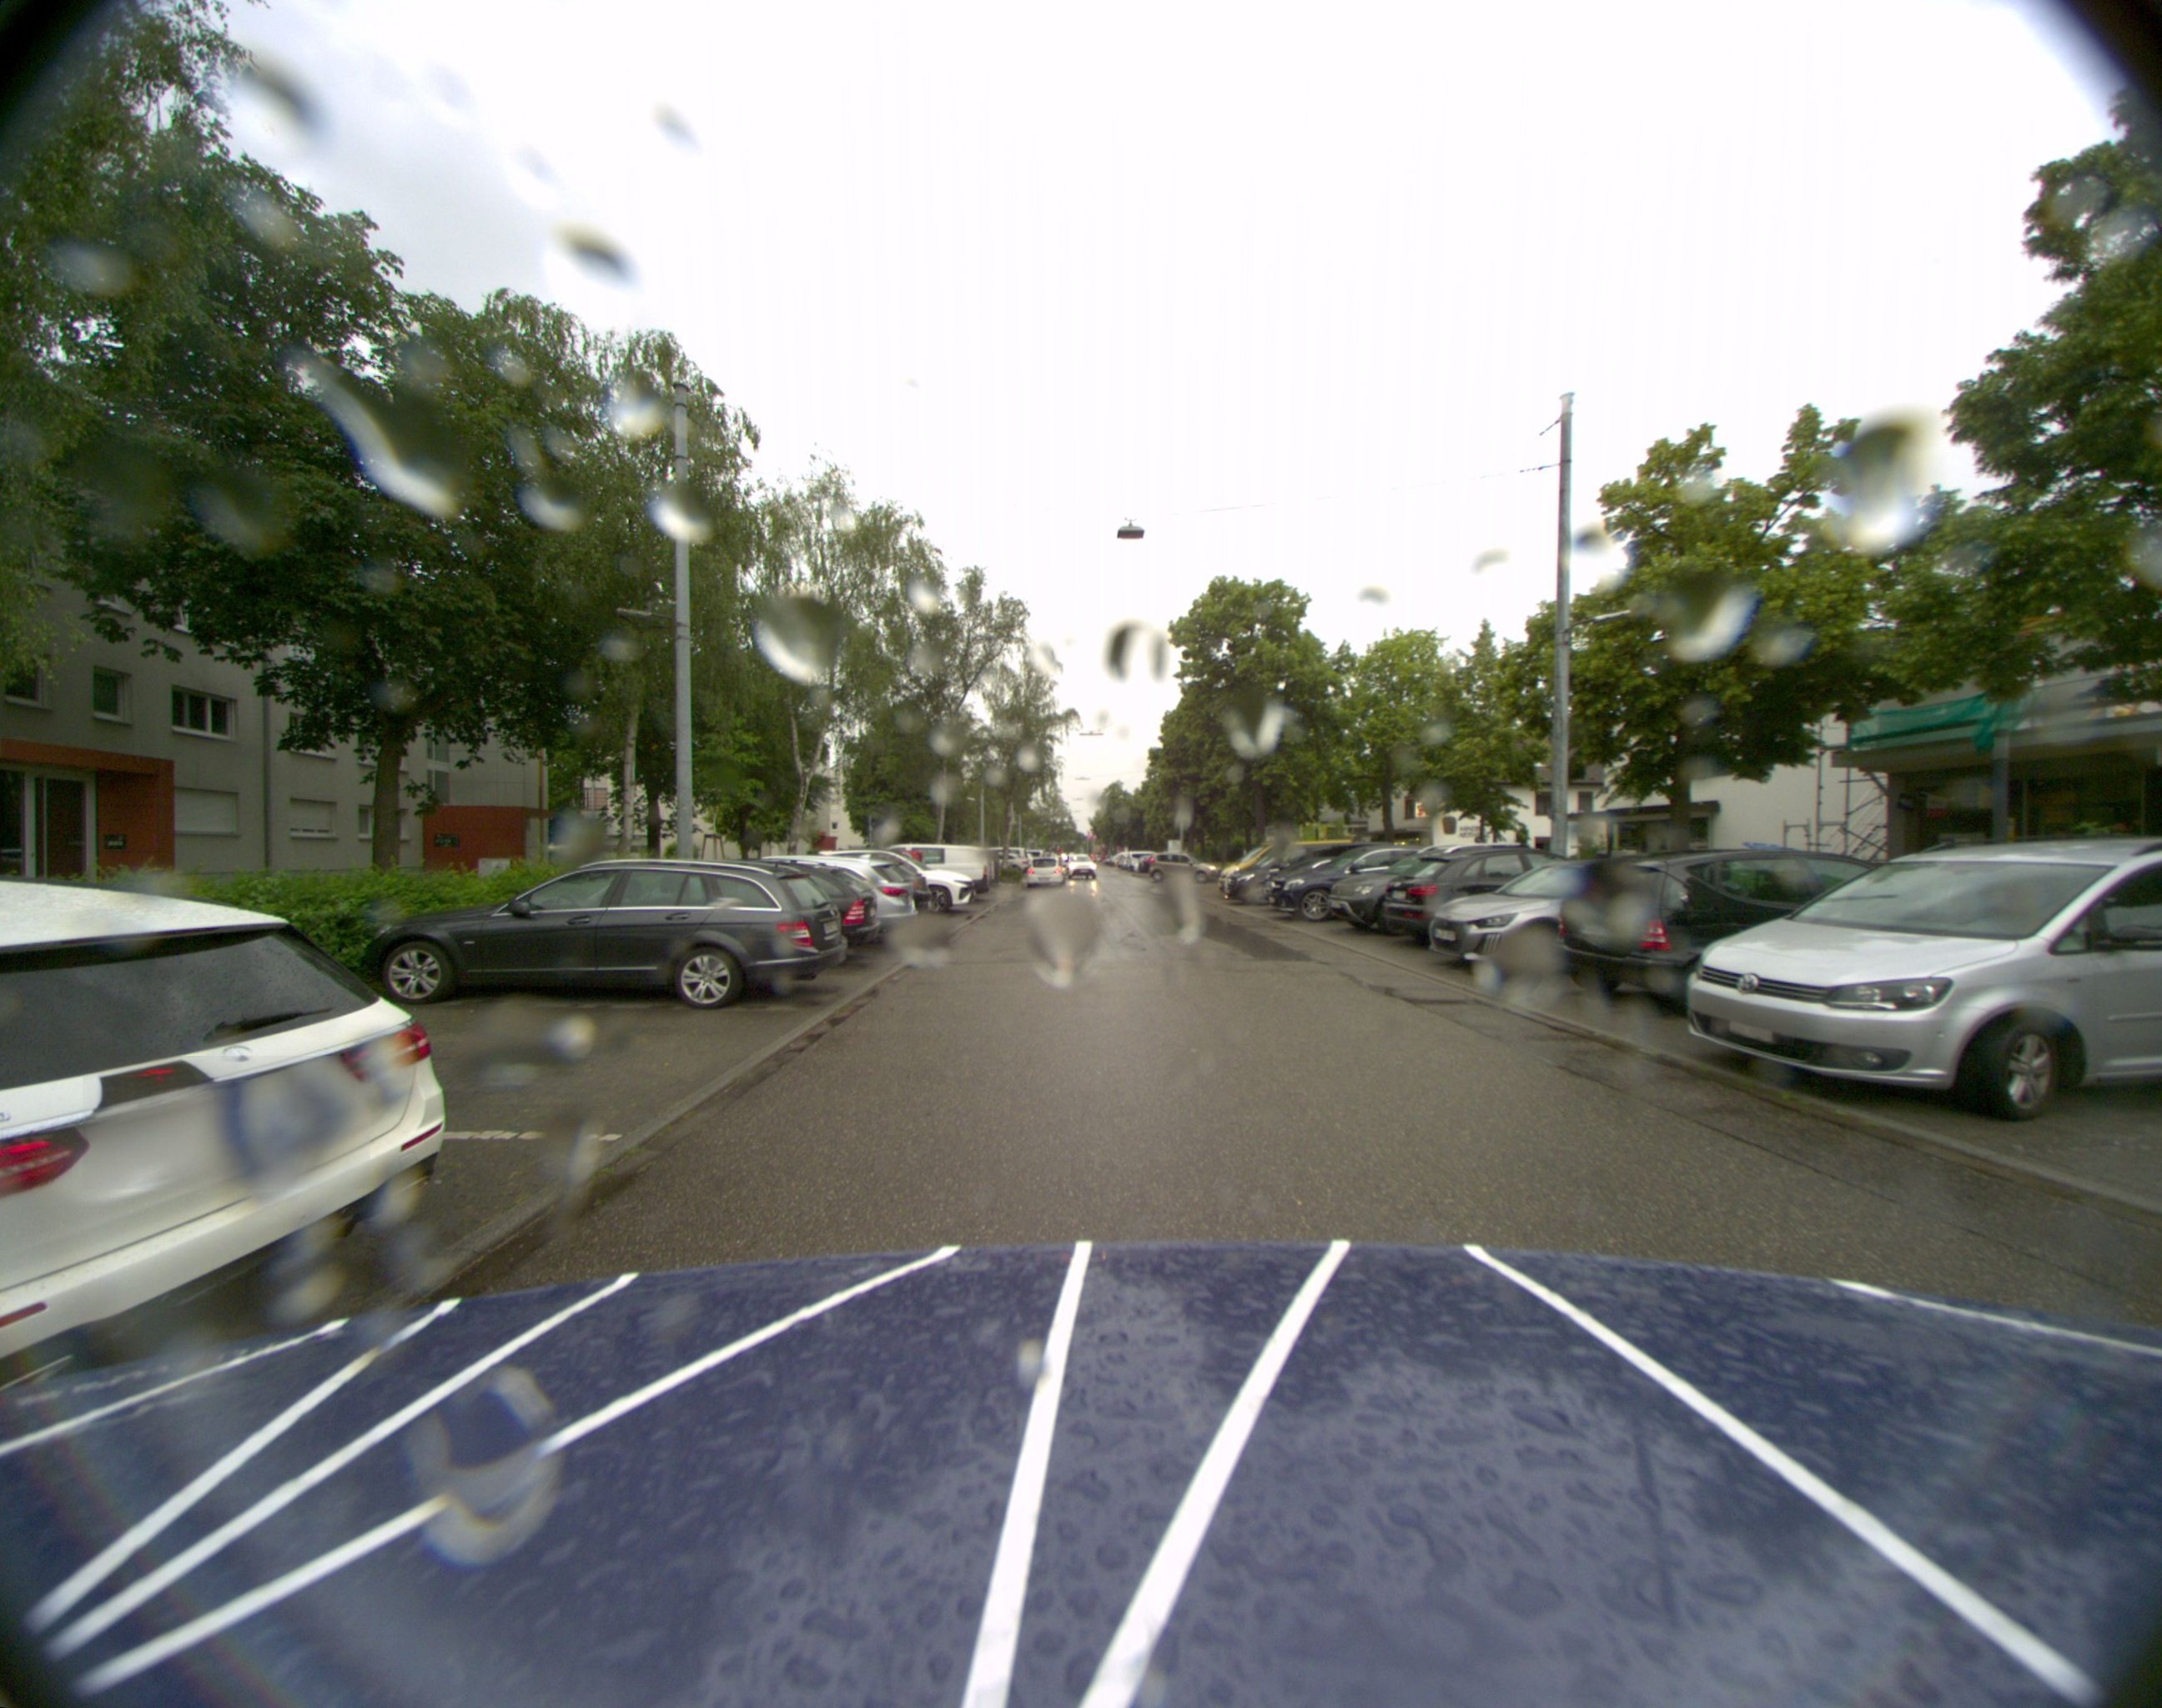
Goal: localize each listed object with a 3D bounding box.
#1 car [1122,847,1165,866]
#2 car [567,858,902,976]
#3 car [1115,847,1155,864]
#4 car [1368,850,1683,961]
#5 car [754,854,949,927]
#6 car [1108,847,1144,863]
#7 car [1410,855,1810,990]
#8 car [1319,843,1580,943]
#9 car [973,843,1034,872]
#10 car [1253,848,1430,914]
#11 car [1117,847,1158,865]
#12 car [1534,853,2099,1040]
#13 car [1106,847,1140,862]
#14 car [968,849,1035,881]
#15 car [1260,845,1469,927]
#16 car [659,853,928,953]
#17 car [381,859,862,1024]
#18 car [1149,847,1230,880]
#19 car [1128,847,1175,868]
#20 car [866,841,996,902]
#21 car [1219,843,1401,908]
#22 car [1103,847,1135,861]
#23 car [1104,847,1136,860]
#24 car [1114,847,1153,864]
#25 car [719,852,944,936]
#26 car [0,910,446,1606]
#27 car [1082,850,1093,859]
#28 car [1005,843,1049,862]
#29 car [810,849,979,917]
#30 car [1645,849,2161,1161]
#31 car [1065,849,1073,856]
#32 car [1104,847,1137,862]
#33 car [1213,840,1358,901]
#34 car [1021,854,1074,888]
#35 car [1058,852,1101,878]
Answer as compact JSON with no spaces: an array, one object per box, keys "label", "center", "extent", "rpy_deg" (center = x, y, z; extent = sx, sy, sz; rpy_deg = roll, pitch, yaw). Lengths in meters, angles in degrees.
[{"label":"car","center":[6.188,0.217,76.014],"extent":[3.998,1.675,1.999],"rpy_deg":[-2,1,-3]},{"label":"car","center":[-4.832,0.855,11.036],"extent":[4.049,1.431,1.680],"rpy_deg":[2,1,-3]},{"label":"car","center":[5.717,0.169,81.103],"extent":[3.998,1.675,1.999],"rpy_deg":[-2,1,-3]},{"label":"car","center":[7.262,0.791,12.679],"extent":[4.283,1.586,1.715],"rpy_deg":[-2,1,-2]},{"label":"car","center":[-5.287,0.832,17.876],"extent":[4.049,1.488,1.680],"rpy_deg":[2,1,-3]},{"label":"car","center":[5.324,0.106,90.314],"extent":[3.998,1.675,1.999],"rpy_deg":[-2,1,-3]},{"label":"car","center":[6.986,0.844,10.319],"extent":[4.283,1.523,1.715],"rpy_deg":[-2,1,-2]},{"label":"car","center":[7.082,0.706,14.865],"extent":[4.283,1.717,1.715],"rpy_deg":[-2,1,-2]},{"label":"car","center":[-5.477,0.245,54.136],"extent":[3.995,1.902,1.902],"rpy_deg":[-2,1,4]},{"label":"car","center":[7.148,0.719,21.086],"extent":[4.283,1.617,1.715],"rpy_deg":[-2,1,-2]},{"label":"car","center":[5.811,0.225,78.452],"extent":[3.998,1.675,1.999],"rpy_deg":[-2,1,-3]},{"label":"car","center":[7.253,0.837,7.768],"extent":[4.283,1.556,1.635],"rpy_deg":[-2,1,-2]},{"label":"car","center":[5.207,0.058,94.420],"extent":[3.998,1.675,1.999],"rpy_deg":[-2,1,-3]},{"label":"car","center":[-5.119,0.680,49.287],"extent":[3.995,1.902,1.902],"rpy_deg":[-2,1,4]},{"label":"car","center":[6.595,0.713,17.949],"extent":[4.283,1.717,1.715],"rpy_deg":[-2,1,-2]},{"label":"car","center":[-4.866,0.813,13.292],"extent":[4.049,1.488,1.680],"rpy_deg":[2,1,-3]},{"label":"car","center":[-4.619,0.859,8.123],"extent":[4.049,1.431,1.680],"rpy_deg":[2,1,-3]},{"label":"car","center":[5.977,0.541,41.944],"extent":[3.989,1.677,1.844],"rpy_deg":[-1,1,33]},{"label":"car","center":[6.369,0.303,68.796],"extent":[3.998,1.675,1.999],"rpy_deg":[-2,1,-3]},{"label":"car","center":[-5.089,0.573,26.191],"extent":[4.182,1.856,1.679],"rpy_deg":[2,1,-6]},{"label":"car","center":[7.110,0.639,23.864],"extent":[5.177,1.789,1.715],"rpy_deg":[-2,1,-2]},{"label":"car","center":[4.958,0.006,99.175],"extent":[3.998,1.675,1.999],"rpy_deg":[-2,1,-3]},{"label":"car","center":[5.190,-0.074,101.616],"extent":[3.998,1.675,1.999],"rpy_deg":[-2,1,-3]},{"label":"car","center":[5.775,0.174,83.757],"extent":[3.998,1.675,1.999],"rpy_deg":[-2,1,-3]},{"label":"car","center":[-5.005,0.788,15.642],"extent":[4.049,1.488,1.680],"rpy_deg":[2,1,-3]},{"label":"car","center":[-4.754,0.917,2.065],"extent":[4.623,1.431,1.680],"rpy_deg":[2,1,0]},{"label":"car","center":[1.314,0.022,152.500],"extent":[1.999,1.617,3.999],"rpy_deg":[-2,1,-1]},{"label":"car","center":[-5.296,-0.180,75.035],"extent":[3.995,1.670,1.902],"rpy_deg":[-2,1,4]},{"label":"car","center":[-5.047,0.750,20.904],"extent":[4.179,1.609,1.680],"rpy_deg":[2,1,1]},{"label":"car","center":[6.621,0.847,5.209],"extent":[4.283,1.625,1.715],"rpy_deg":[-2,1,-2]},{"label":"car","center":[-3.186,-0.320,203.636],"extent":[1.998,1.804,3.999],"rpy_deg":[-2,1,1]},{"label":"car","center":[5.015,0.032,96.942],"extent":[3.998,1.675,1.999],"rpy_deg":[-2,1,-3]},{"label":"car","center":[7.179,0.560,26.931],"extent":[4.657,1.947,1.715],"rpy_deg":[-2,1,-2]},{"label":"car","center":[-1.595,0.781,37.606],"extent":[1.998,1.446,4.258],"rpy_deg":[-2,1,5]},{"label":"car","center":[-0.144,0.655,48.430],"extent":[1.735,1.519,4.133],"rpy_deg":[-1,1,-15]}]
